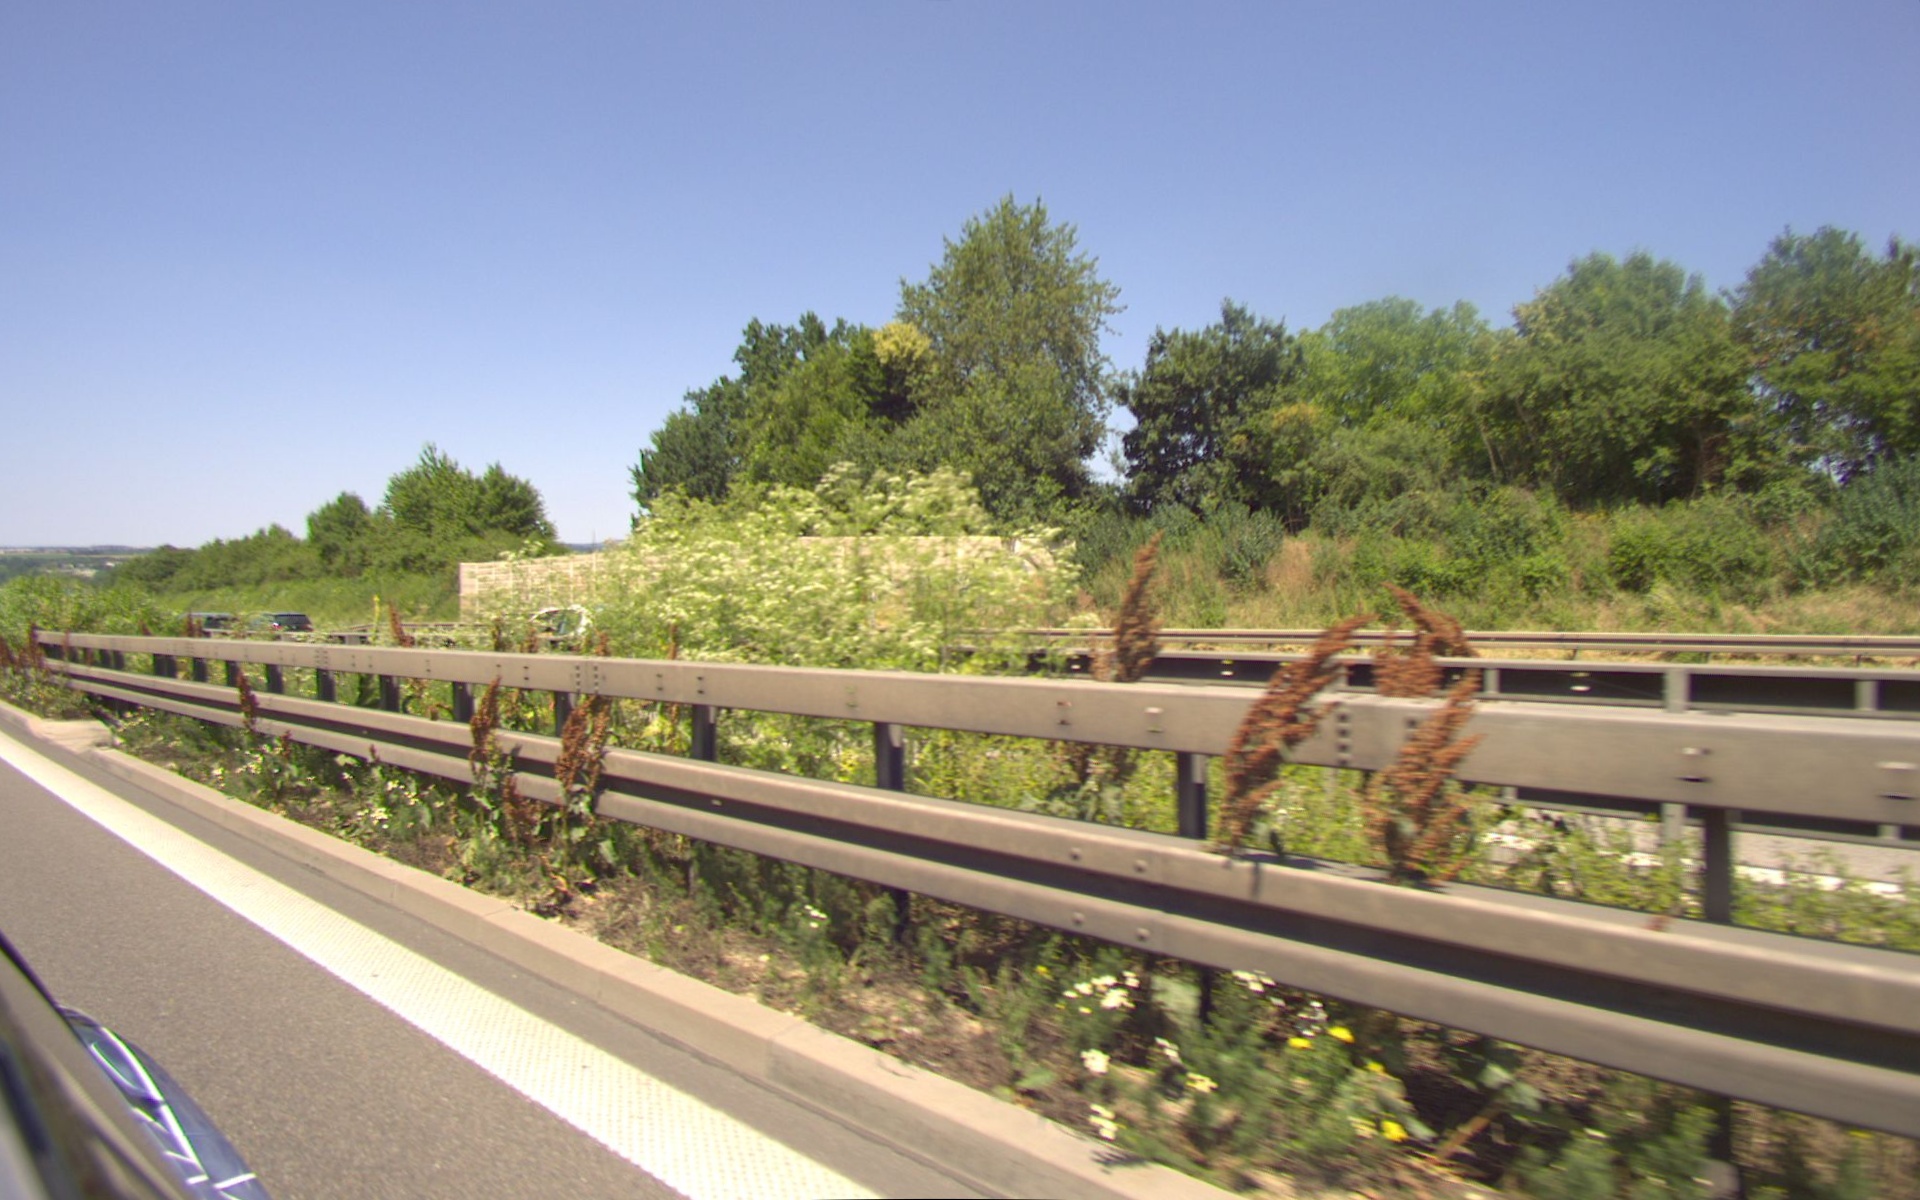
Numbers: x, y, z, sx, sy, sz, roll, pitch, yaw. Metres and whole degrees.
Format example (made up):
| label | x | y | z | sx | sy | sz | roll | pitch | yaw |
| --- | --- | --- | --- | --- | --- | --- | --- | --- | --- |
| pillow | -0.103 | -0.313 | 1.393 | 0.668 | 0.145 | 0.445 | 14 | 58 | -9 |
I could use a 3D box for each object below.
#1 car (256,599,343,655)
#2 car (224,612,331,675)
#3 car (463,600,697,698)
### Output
| label | x | y | z | sx | sy | sz | roll | pitch | yaw |
| --- | --- | --- | --- | --- | --- | --- | --- | --- | --- |
| car | -25.284 | 1.008 | 38.695 | 3.999 | 2.029 | 1.829 | -1 | -1 | 42 |
| car | -18.883 | 1.160 | 27.952 | 3.872 | 1.630 | 1.584 | -1 | -1 | 42 |
| car | -6.524 | 0.766 | 17.121 | 4.487 | 1.438 | 1.817 | -1 | -1 | 41 |
